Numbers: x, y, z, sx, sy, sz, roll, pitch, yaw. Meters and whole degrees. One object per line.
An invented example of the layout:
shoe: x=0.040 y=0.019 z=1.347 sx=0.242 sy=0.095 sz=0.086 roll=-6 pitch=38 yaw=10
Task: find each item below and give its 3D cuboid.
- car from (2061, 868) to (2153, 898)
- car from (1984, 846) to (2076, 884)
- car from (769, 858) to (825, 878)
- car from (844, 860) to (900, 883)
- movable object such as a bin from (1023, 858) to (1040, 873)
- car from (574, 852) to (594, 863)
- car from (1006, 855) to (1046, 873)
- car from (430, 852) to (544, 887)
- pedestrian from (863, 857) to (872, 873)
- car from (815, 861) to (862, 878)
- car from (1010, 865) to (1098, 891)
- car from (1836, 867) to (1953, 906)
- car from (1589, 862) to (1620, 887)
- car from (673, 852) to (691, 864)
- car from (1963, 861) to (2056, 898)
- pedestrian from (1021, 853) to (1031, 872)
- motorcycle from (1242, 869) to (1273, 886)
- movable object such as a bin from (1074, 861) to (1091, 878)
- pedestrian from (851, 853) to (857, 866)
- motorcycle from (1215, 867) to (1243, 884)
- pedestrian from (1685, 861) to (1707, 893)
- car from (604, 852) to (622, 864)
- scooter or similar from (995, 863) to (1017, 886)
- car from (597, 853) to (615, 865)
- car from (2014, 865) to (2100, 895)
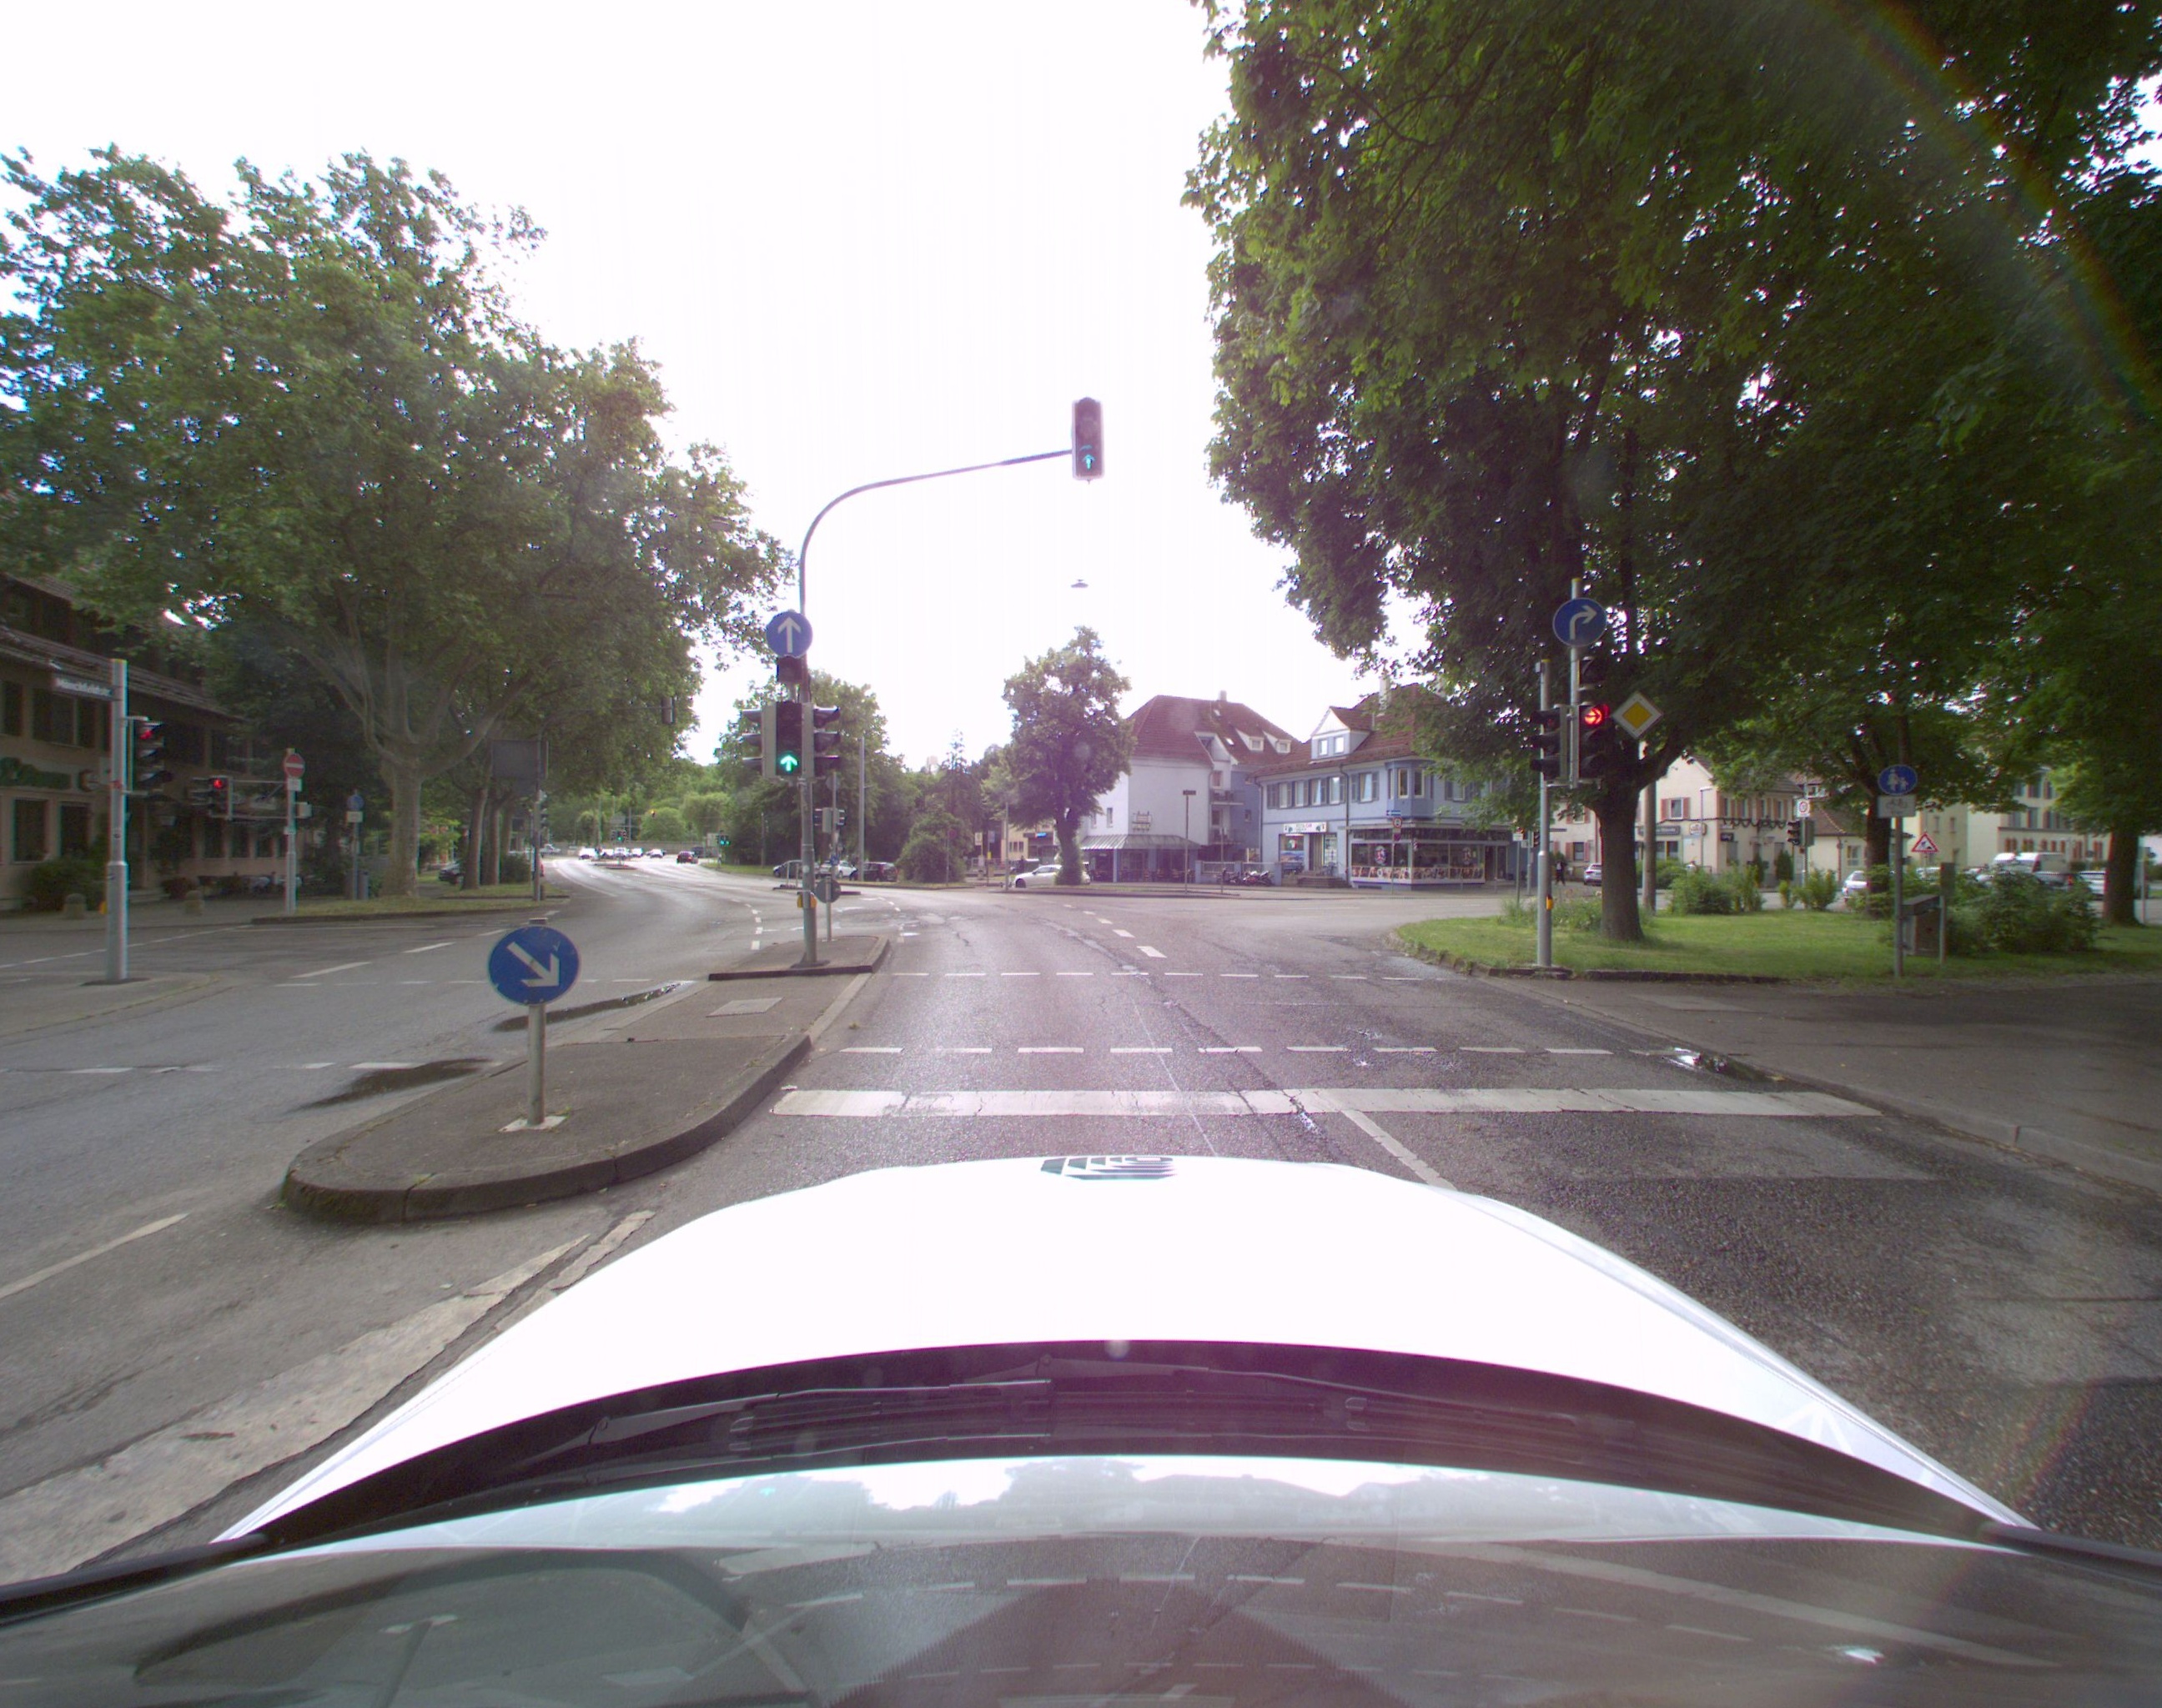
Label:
car: x=52.752 y=1.464 z=41.882 sx=4.407 sy=1.456 sz=1.910 roll=0 pitch=-1 yaw=-24
car: x=61.676 y=0.711 z=52.907 sx=5.966 sy=2.392 sz=2.318 roll=0 pitch=-1 yaw=-24
car: x=-22.646 y=1.129 z=65.017 sx=4.063 sy=1.429 sz=1.743 roll=2 pitch=0 yaw=24
car: x=-13.910 y=1.156 z=54.148 sx=3.450 sy=1.404 sz=1.583 roll=1 pitch=0 yaw=30
movable object such as a bin: x=-4.501 y=1.034 z=74.217 sx=1.223 sy=1.345 sz=0.986 roll=0 pitch=-1 yaw=-30
car: x=-63.293 y=0.443 z=103.743 sx=1.771 sy=1.466 sz=3.988 roll=0 pitch=0 yaw=-25
car: x=-5.141 y=0.951 z=75.988 sx=3.428 sy=1.630 sz=1.612 roll=0 pitch=-1 yaw=-23
car: x=-36.478 y=0.906 z=50.131 sx=2.058 sy=1.931 sz=5.276 roll=0 pitch=2 yaw=42
pedestrian: x=-20.291 y=1.060 z=77.308 sx=0.687 sy=1.551 sz=0.736 roll=1 pitch=0 yaw=-30
car: x=-20.064 y=1.258 z=67.655 sx=1.746 sy=1.380 sz=4.278 roll=1 pitch=0 yaw=14
car: x=-1.540 y=1.302 z=45.915 sx=4.726 sy=1.386 sz=2.013 roll=-1 pitch=-1 yaw=36
car: x=32.954 y=1.279 z=32.986 sx=4.552 sy=1.456 sz=1.885 roll=0 pitch=-1 yaw=-24
car: x=32.444 y=1.265 z=50.508 sx=1.551 sy=1.462 sz=3.461 roll=0 pitch=0 yaw=32
car: x=-50.053 y=0.540 z=102.158 sx=1.833 sy=1.509 sz=4.532 roll=0 pitch=0 yaw=-28
car: x=42.248 y=1.137 z=37.053 sx=4.008 sy=1.572 sz=1.857 roll=0 pitch=-1 yaw=-27
pedestrian: x=-5.043 y=0.811 z=74.883 sx=0.691 sy=1.729 sz=0.605 roll=0 pitch=-1 yaw=-30
motorcycle: x=10.437 y=1.395 z=48.228 sx=1.800 sy=0.985 sz=0.525 roll=-1 pitch=-1 yaw=45
movable object such as a bin: x=0.126 y=1.352 z=70.628 sx=1.218 sy=1.395 sz=1.153 roll=0 pitch=-1 yaw=-20
pedestrian: x=-25.889 y=0.635 z=92.805 sx=0.512 sy=1.531 sz=0.773 roll=1 pitch=-1 yaw=-20
motorcycle: x=9.107 y=1.333 z=50.023 sx=1.703 sy=1.031 sz=0.492 roll=-1 pitch=-1 yaw=45
pedestrian: x=33.543 y=1.253 z=44.392 sx=0.648 sy=1.697 sz=0.750 roll=1 pitch=-1 yaw=-27
car: x=-73.504 y=0.565 z=128.024 sx=1.919 sy=1.763 sz=4.716 roll=0 pitch=1 yaw=-23
scooter or similar: x=-3.952 y=1.102 z=42.961 sx=0.407 sy=1.167 sz=1.370 roll=0 pitch=-3 yaw=28
car: x=-69.195 y=0.733 z=118.754 sx=1.805 sy=1.586 sz=4.380 roll=-2 pitch=2 yaw=-24
car: x=46.980 y=1.232 z=39.200 sx=3.746 sy=1.390 sz=1.725 roll=0 pitch=-1 yaw=-24
